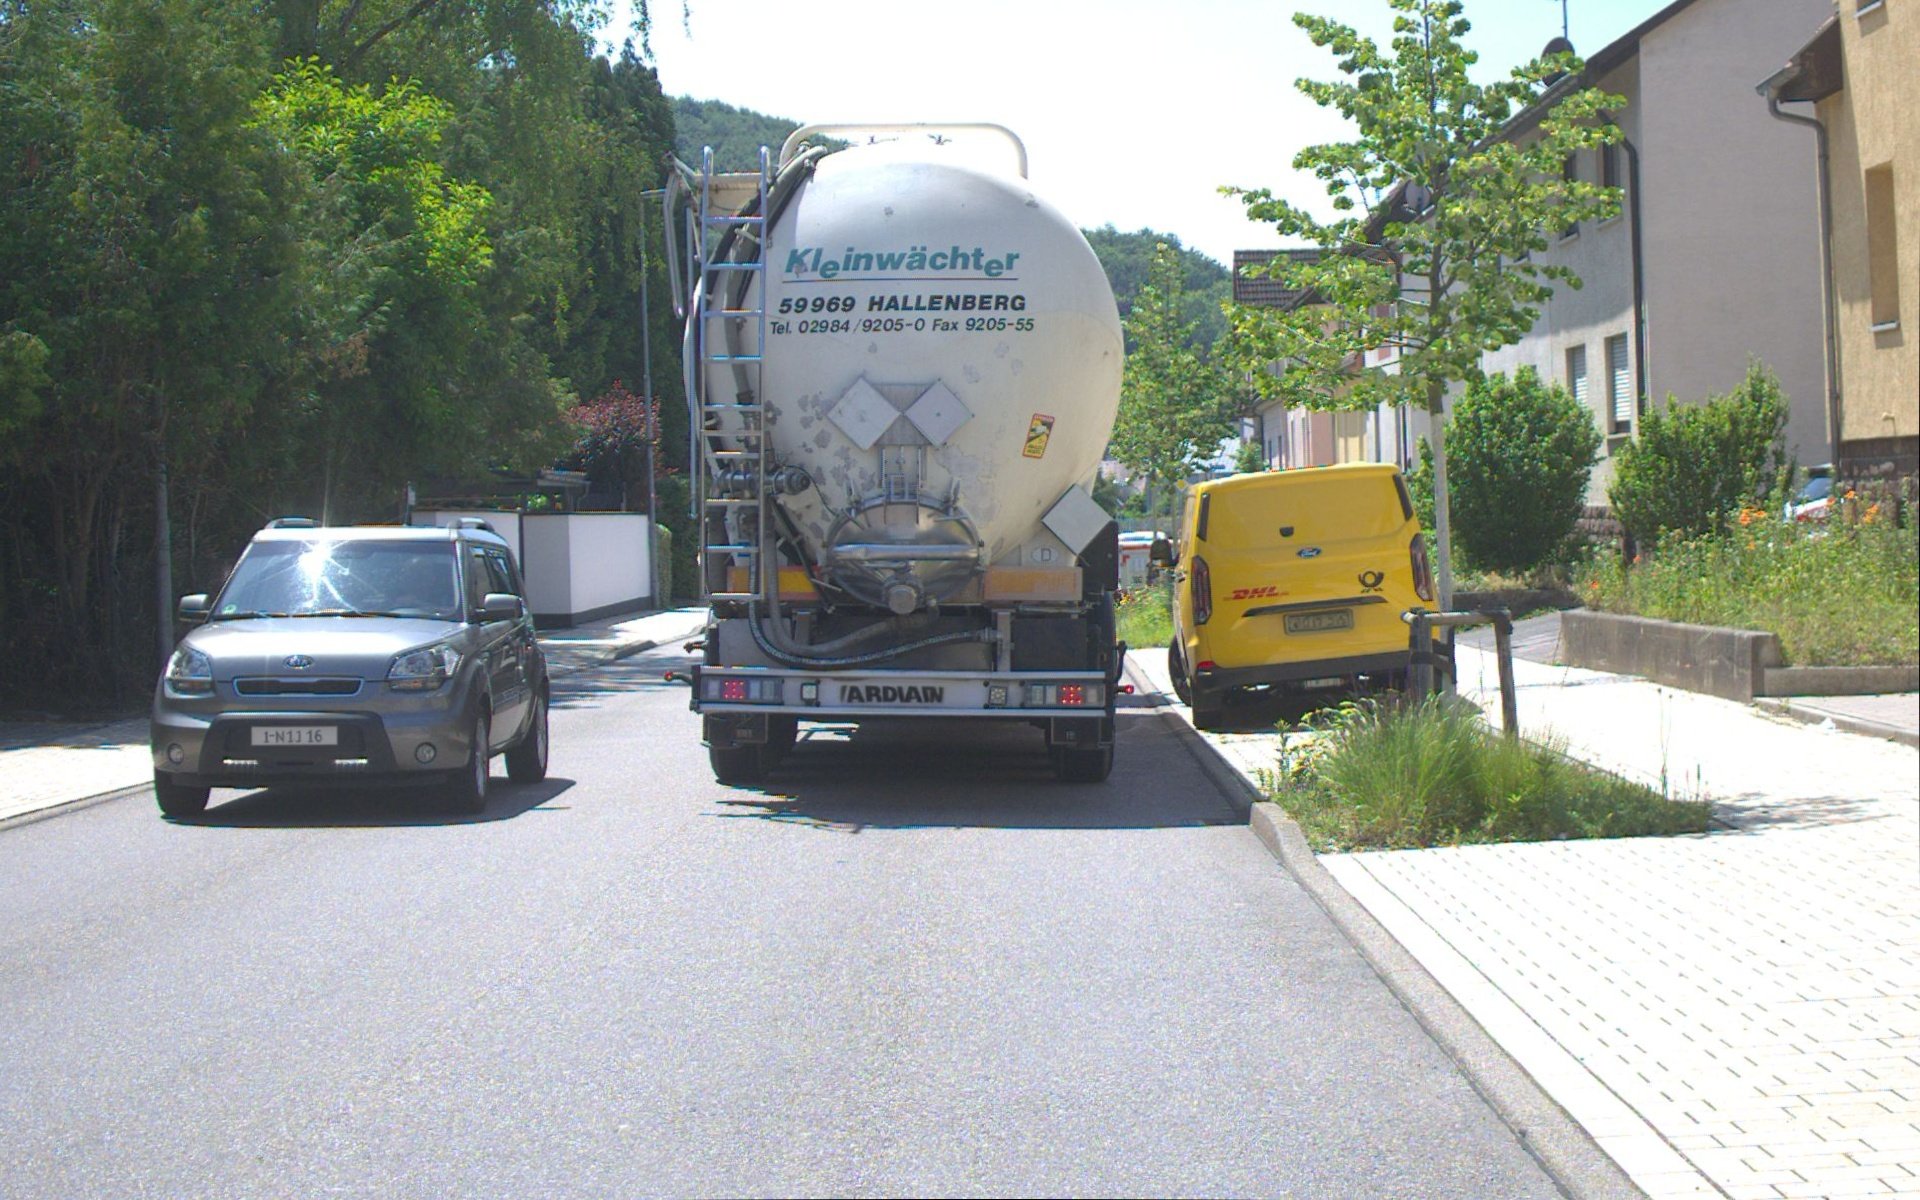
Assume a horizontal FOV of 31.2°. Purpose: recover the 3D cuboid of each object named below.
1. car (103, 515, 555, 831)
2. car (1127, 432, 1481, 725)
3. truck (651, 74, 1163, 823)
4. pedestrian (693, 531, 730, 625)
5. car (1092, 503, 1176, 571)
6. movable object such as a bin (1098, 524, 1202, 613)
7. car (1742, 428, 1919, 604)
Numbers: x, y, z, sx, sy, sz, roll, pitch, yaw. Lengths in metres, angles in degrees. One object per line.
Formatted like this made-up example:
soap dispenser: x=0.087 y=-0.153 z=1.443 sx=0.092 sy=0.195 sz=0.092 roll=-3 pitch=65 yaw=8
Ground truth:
car: x=-3.544 y=0.334 z=20.006 sx=1.867 sy=1.647 sz=3.949 roll=0 pitch=1 yaw=1
car: x=2.726 y=-0.179 z=28.675 sx=2.189 sy=2.007 sz=5.623 roll=-5 pitch=0 yaw=0
truck: x=-0.200 y=-0.933 z=24.108 sx=2.750 sy=4.043 sz=10.889 roll=0 pitch=1 yaw=1
pedestrian: x=-5.349 y=-0.475 z=74.013 sx=0.720 sy=2.007 sz=0.804 roll=0 pitch=0 yaw=0
car: x=4.123 y=-1.483 z=82.033 sx=1.756 sy=1.413 sz=4.633 roll=-3 pitch=0 yaw=1
movable object such as a bin: x=3.198 y=-0.526 z=58.384 sx=1.571 sy=1.412 sz=3.041 roll=-2 pitch=0 yaw=0
car: x=10.343 y=-0.961 z=35.490 sx=3.987 sy=1.671 sz=1.874 roll=-4 pitch=1 yaw=-1
